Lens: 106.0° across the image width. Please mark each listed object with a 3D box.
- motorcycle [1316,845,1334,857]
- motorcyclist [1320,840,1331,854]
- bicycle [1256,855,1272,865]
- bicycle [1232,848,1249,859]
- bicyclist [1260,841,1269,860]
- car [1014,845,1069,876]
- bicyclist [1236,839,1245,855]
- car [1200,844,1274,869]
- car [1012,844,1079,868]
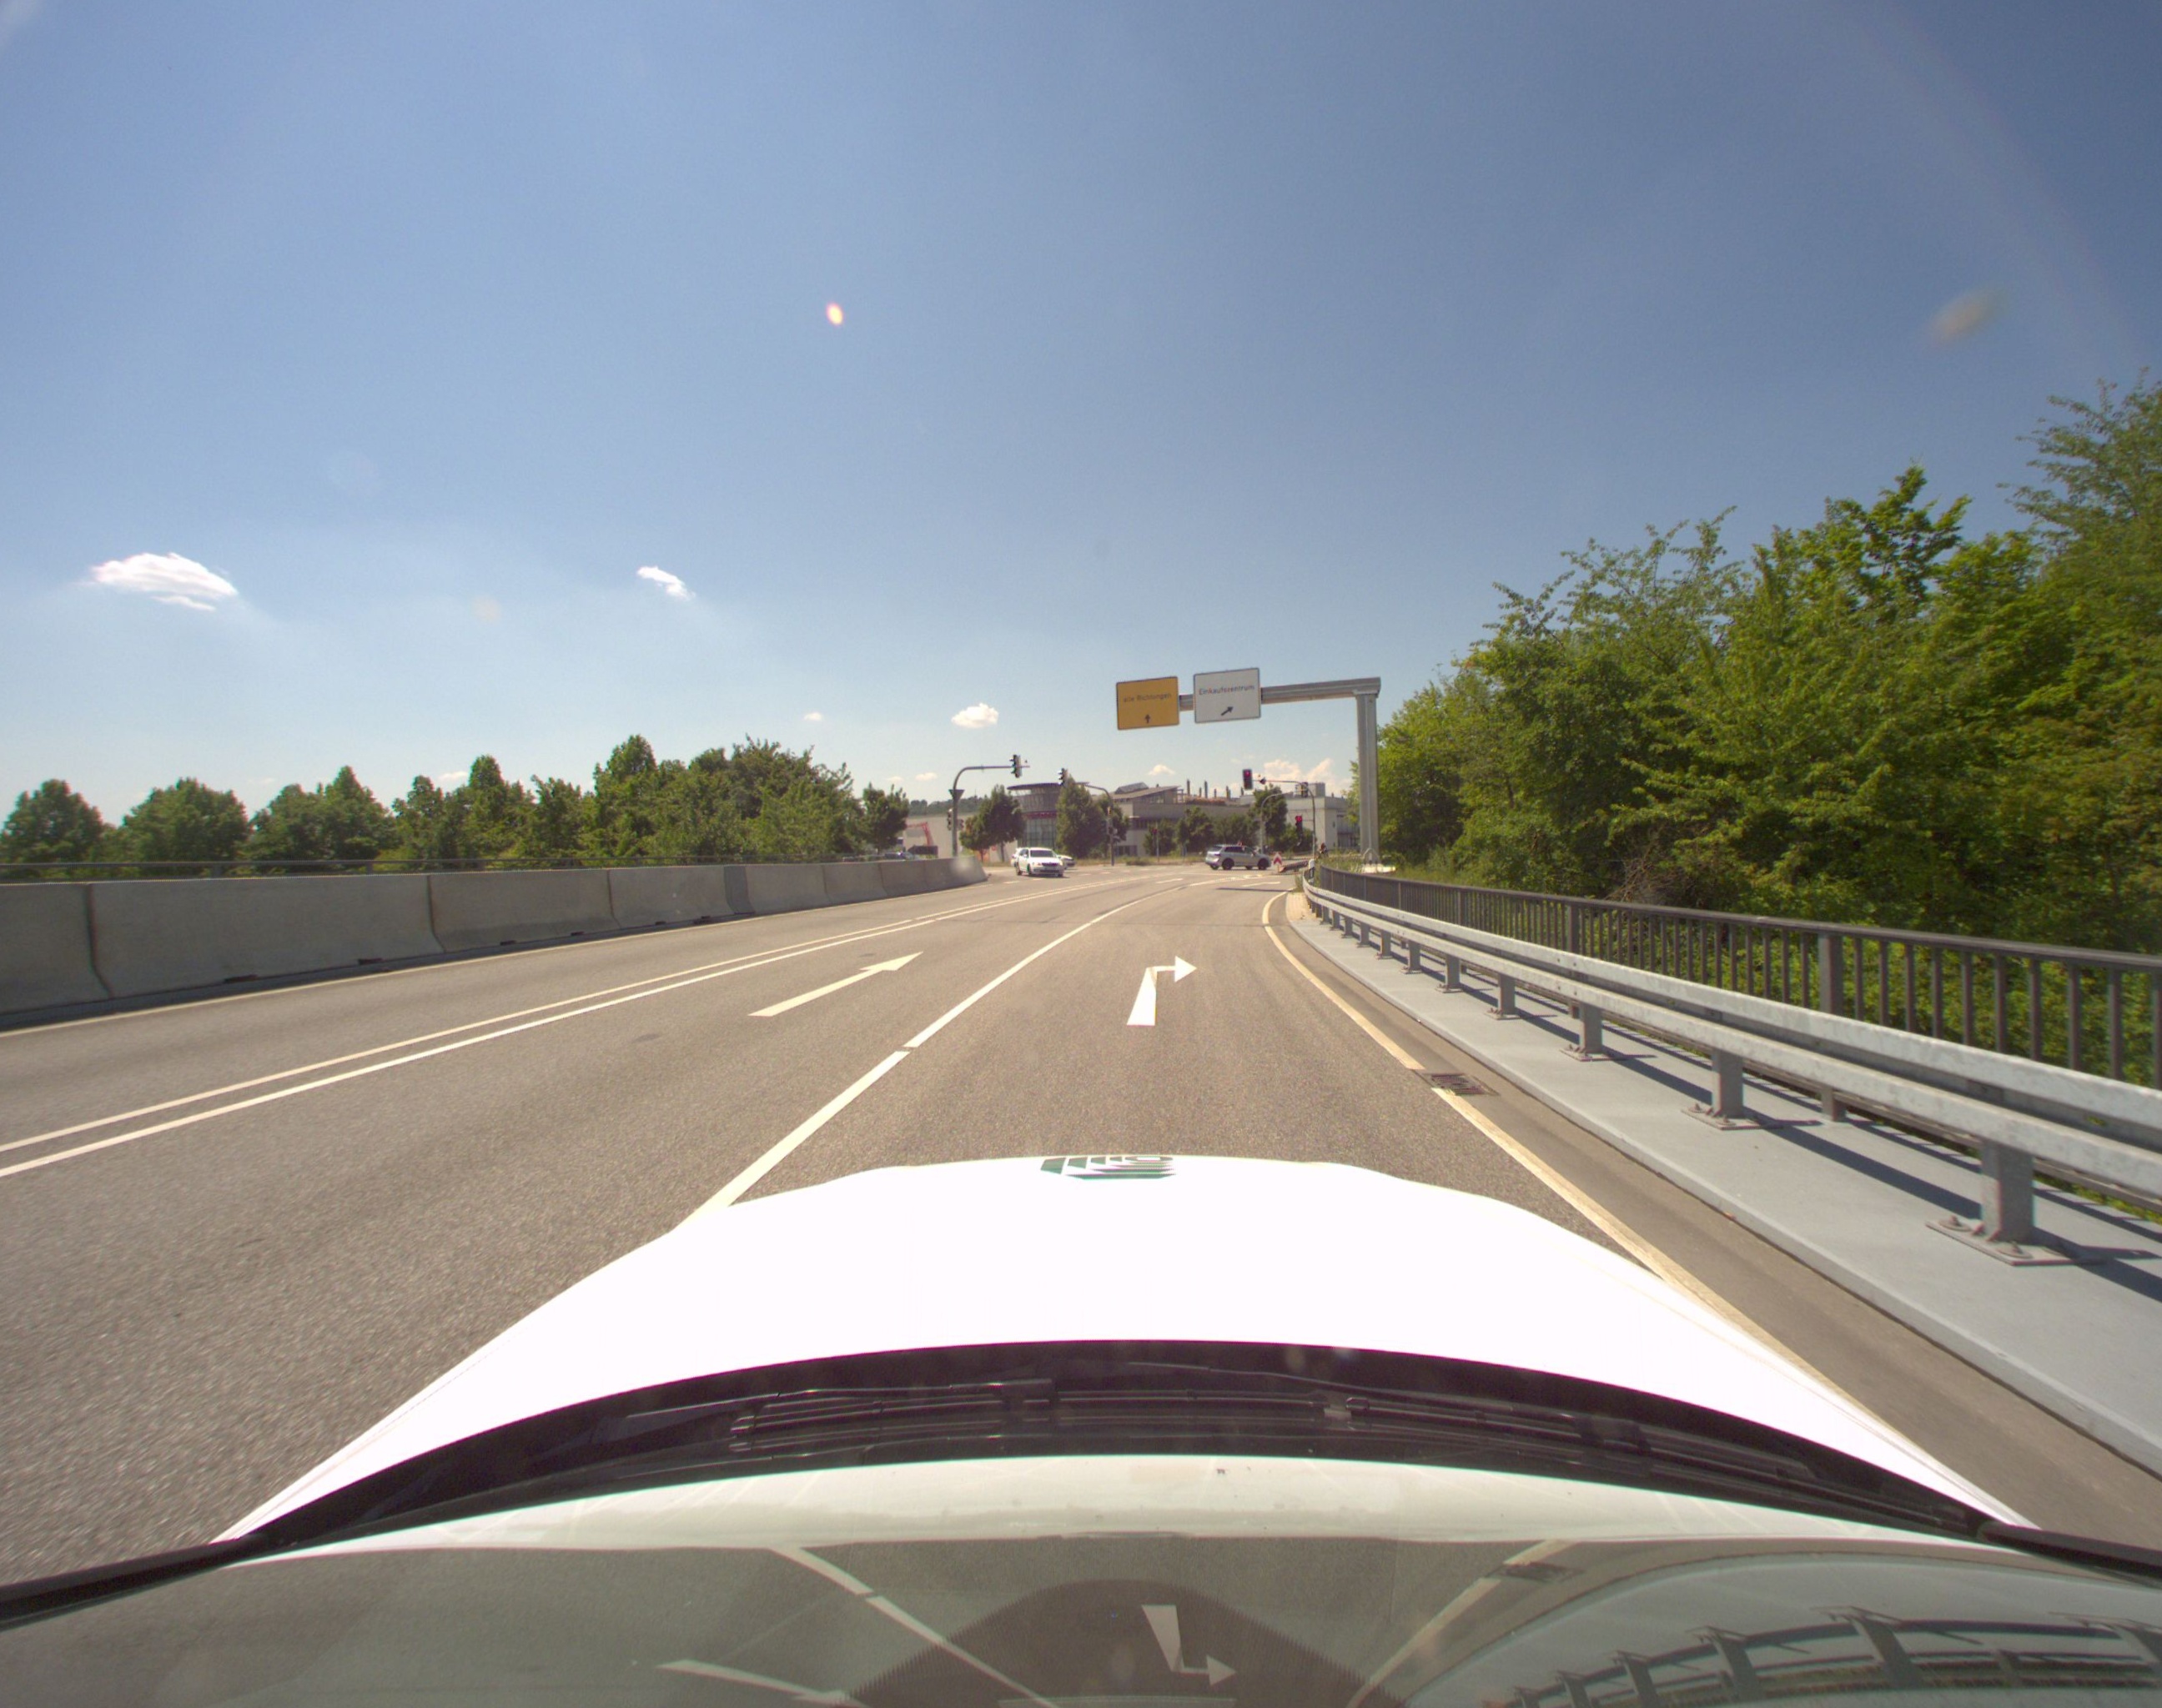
[{"bbox_3d":[22.897,-0.266,76.419,0.557,1.080,2.298,-1,0,44],"label":"motorcycle"},{"bbox_3d":[22.931,-0.691,76.479,0.668,1.303,0.728,-2,-1,44],"label":"motorcyclist"},{"bbox_3d":[17.234,0.587,76.617,0.528,0.852,2.140,2,2,40],"label":"bicycle"},{"bbox_3d":[14.978,-0.033,76.539,1.840,1.024,0.411,0,2,-36],"label":"bicycle"},{"bbox_3d":[17.246,-0.311,76.592,0.525,1.717,0.735,2,2,40],"label":"bicyclist"},{"bbox_3d":[-2.099,0.312,42.029,1.791,1.495,4.526,-1,0,-16],"label":"car"},{"bbox_3d":[14.975,-0.660,76.516,0.688,1.404,0.404,1,1,-35],"label":"bicyclist"},{"bbox_3d":[10.265,0.146,53.627,4.398,1.505,1.986,-1,-1,-21],"label":"car"},{"bbox_3d":[-2.312,0.128,53.575,4.098,1.486,2.005,1,1,8],"label":"car"}]
